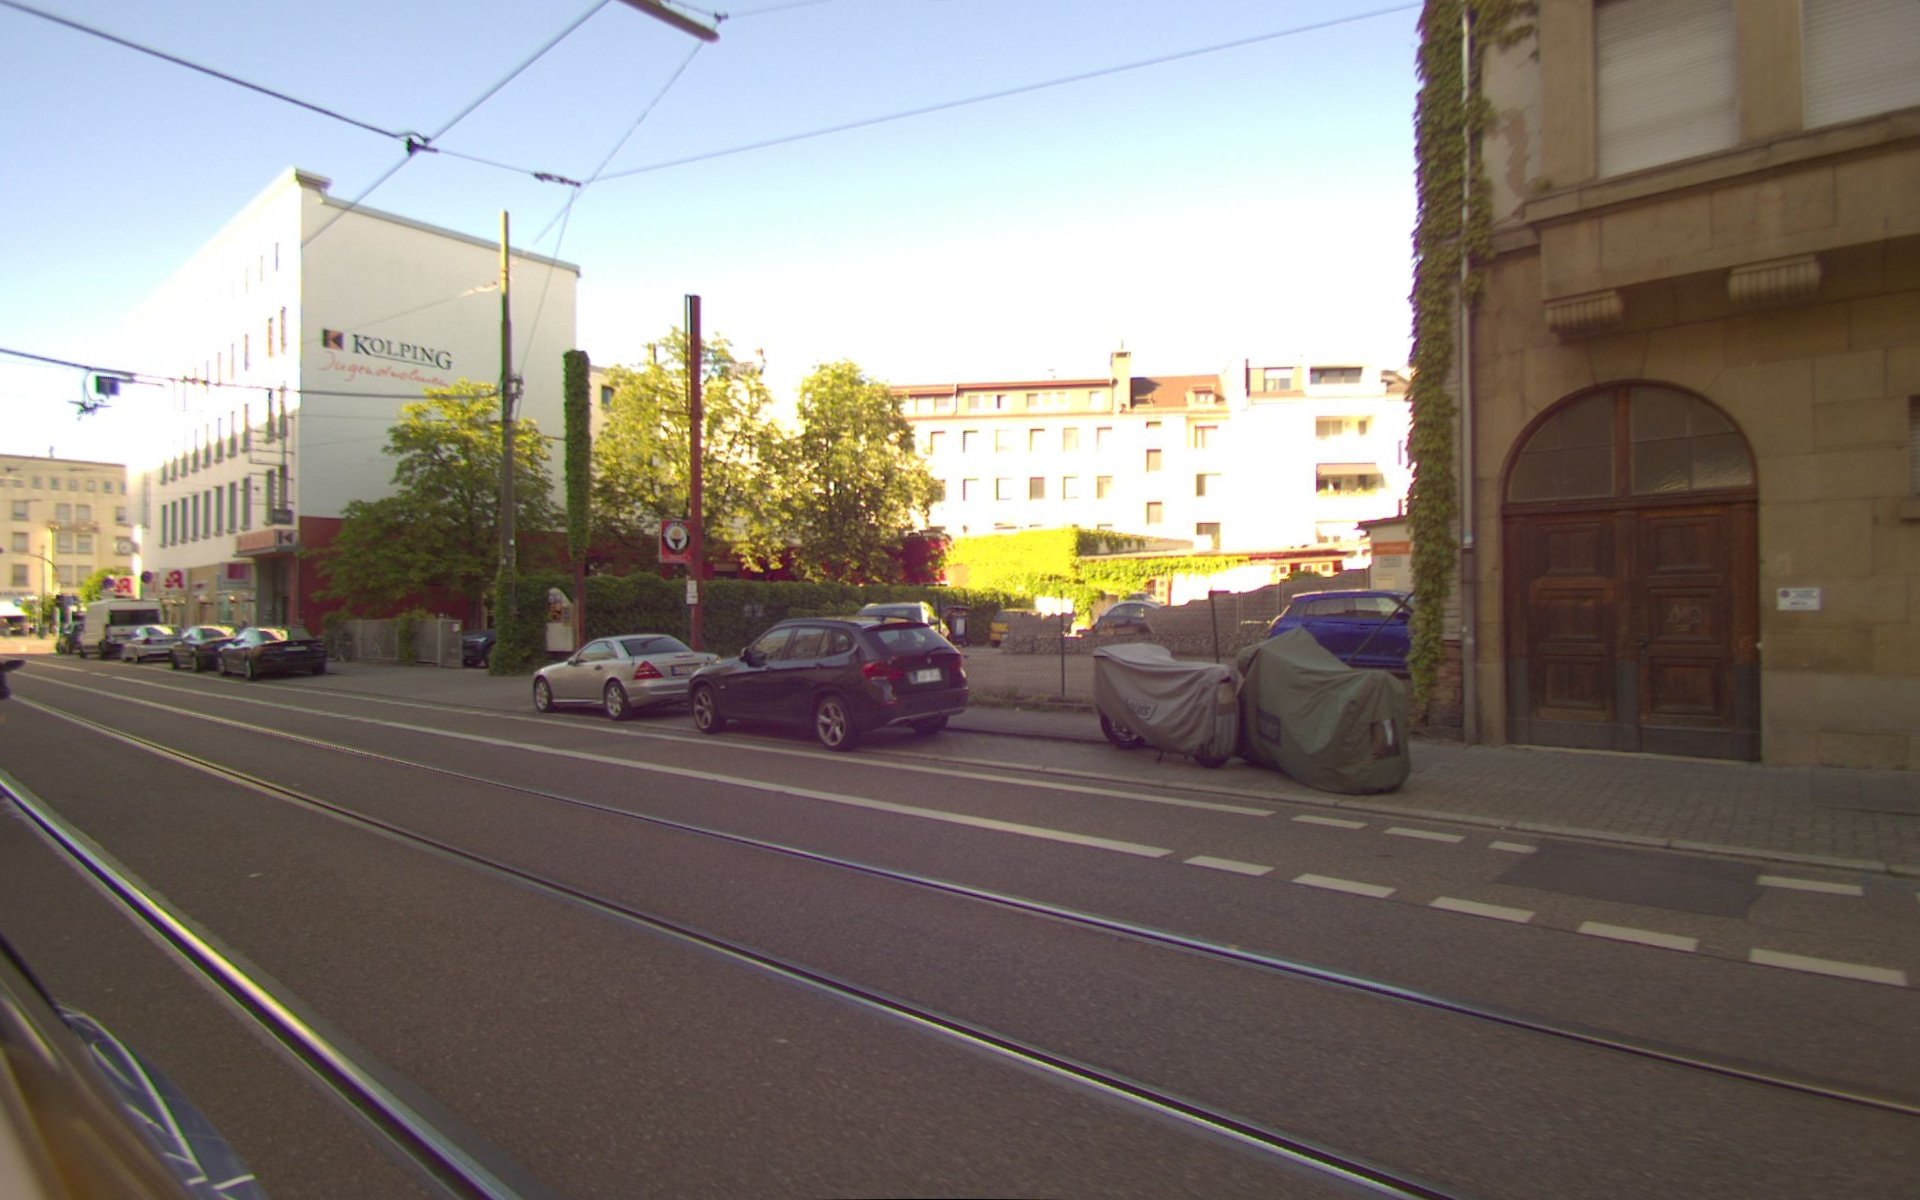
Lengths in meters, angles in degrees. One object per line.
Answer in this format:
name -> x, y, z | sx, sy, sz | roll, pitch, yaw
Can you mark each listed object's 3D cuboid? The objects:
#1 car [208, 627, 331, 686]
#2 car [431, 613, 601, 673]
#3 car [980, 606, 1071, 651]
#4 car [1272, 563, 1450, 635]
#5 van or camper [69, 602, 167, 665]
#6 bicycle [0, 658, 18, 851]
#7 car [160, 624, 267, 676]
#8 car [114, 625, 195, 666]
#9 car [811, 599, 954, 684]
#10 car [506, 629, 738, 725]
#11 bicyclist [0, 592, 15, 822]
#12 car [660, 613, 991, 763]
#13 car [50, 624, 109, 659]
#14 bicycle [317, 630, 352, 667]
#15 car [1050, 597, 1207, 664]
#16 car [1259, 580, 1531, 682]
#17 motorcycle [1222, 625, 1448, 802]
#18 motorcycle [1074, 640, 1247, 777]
car -> -19.953, 1.563, 29.148 | 4.839, 1.456, 1.765 | -1, 1, 41
car -> -13.460, 1.250, 30.845 | 2.000, 1.609, 4.315 | -1, -1, 42
car -> 2.481, 1.016, 37.671 | 1.796, 1.566, 3.958 | -1, -1, 31
car -> 10.562, 0.020, 26.793 | 3.999, 1.763, 1.778 | -2, -1, 42
van or camper -> -36.291, 1.394, 43.546 | 6.228, 2.486, 2.150 | -1, 1, 41
bicycle -> -7.059, 1.033, 6.948 | 1.752, 1.208, 0.757 | -1, -1, 43
car -> -24.306, 1.564, 32.889 | 4.696, 1.492, 1.765 | -1, 1, 41
car -> -31.086, 1.705, 39.009 | 4.444, 1.409, 1.764 | -1, 1, 42
car -> -1.434, 0.790, 20.816 | 1.976, 1.529, 4.785 | -1, -1, 8
car -> -5.714, 1.184, 16.874 | 4.219, 1.324, 1.765 | -1, 1, 41
bicyclist -> -7.043, 0.726, 6.941 | 0.939, 1.552, 0.764 | -1, -1, 44
car -> -1.912, 1.008, 13.276 | 4.610, 1.577, 1.764 | -1, 1, 43
car -> -43.668, 2.025, 50.168 | 3.992, 1.564, 1.764 | -1, 1, 42
bicycle -> -20.890, 1.590, 33.791 | 2.050, 1.183, 0.435 | -1, -1, 42
car -> 4.665, 0.831, 28.310 | 3.999, 1.763, 1.778 | -2, -1, 42
car -> 7.321, 0.506, 17.247 | 3.907, 1.537, 1.734 | -2, -1, 42
motorcycle -> 3.283, 0.928, 9.114 | 0.871, 1.361, 1.963 | -1, -1, -17
motorcycle -> 1.989, 1.043, 10.454 | 0.729, 1.180, 2.187 | -1, -1, -19
